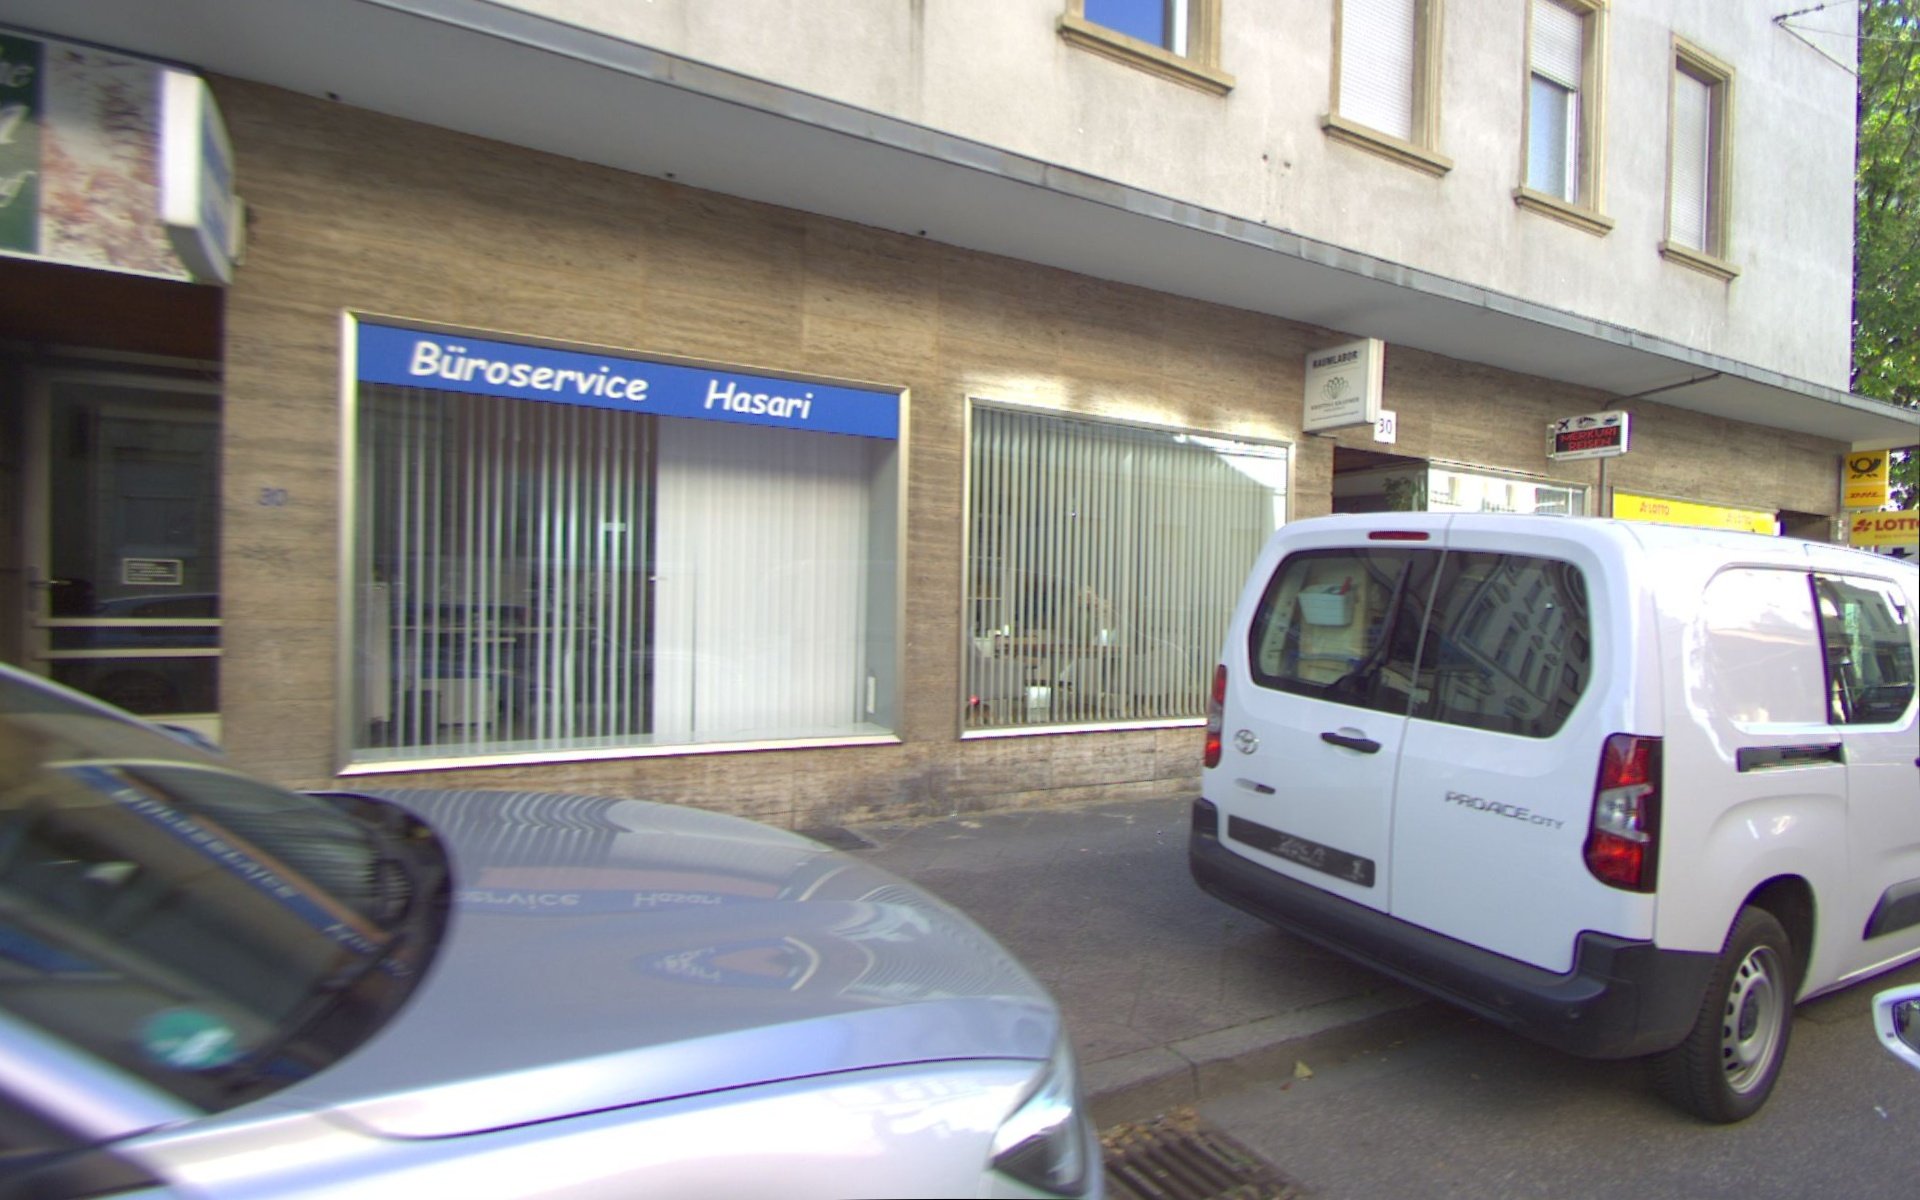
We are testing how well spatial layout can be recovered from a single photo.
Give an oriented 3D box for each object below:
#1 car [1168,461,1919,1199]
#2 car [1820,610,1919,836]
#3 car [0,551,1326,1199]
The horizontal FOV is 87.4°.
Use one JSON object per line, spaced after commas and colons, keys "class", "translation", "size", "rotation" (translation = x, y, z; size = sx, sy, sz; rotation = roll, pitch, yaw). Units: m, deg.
{"class": "car", "translation": [3.310, 0.681, 4.513], "size": [4.754, 1.924, 1.758], "rotation": [1, -2, -31]}
{"class": "car", "translation": [8.474, 0.913, 7.718], "size": [3.677, 1.581, 1.660], "rotation": [2, -1, -29]}
{"class": "car", "translation": [-1.688, 0.744, 1.296], "size": [4.437, 1.543, 1.657], "rotation": [1, -2, -31]}
